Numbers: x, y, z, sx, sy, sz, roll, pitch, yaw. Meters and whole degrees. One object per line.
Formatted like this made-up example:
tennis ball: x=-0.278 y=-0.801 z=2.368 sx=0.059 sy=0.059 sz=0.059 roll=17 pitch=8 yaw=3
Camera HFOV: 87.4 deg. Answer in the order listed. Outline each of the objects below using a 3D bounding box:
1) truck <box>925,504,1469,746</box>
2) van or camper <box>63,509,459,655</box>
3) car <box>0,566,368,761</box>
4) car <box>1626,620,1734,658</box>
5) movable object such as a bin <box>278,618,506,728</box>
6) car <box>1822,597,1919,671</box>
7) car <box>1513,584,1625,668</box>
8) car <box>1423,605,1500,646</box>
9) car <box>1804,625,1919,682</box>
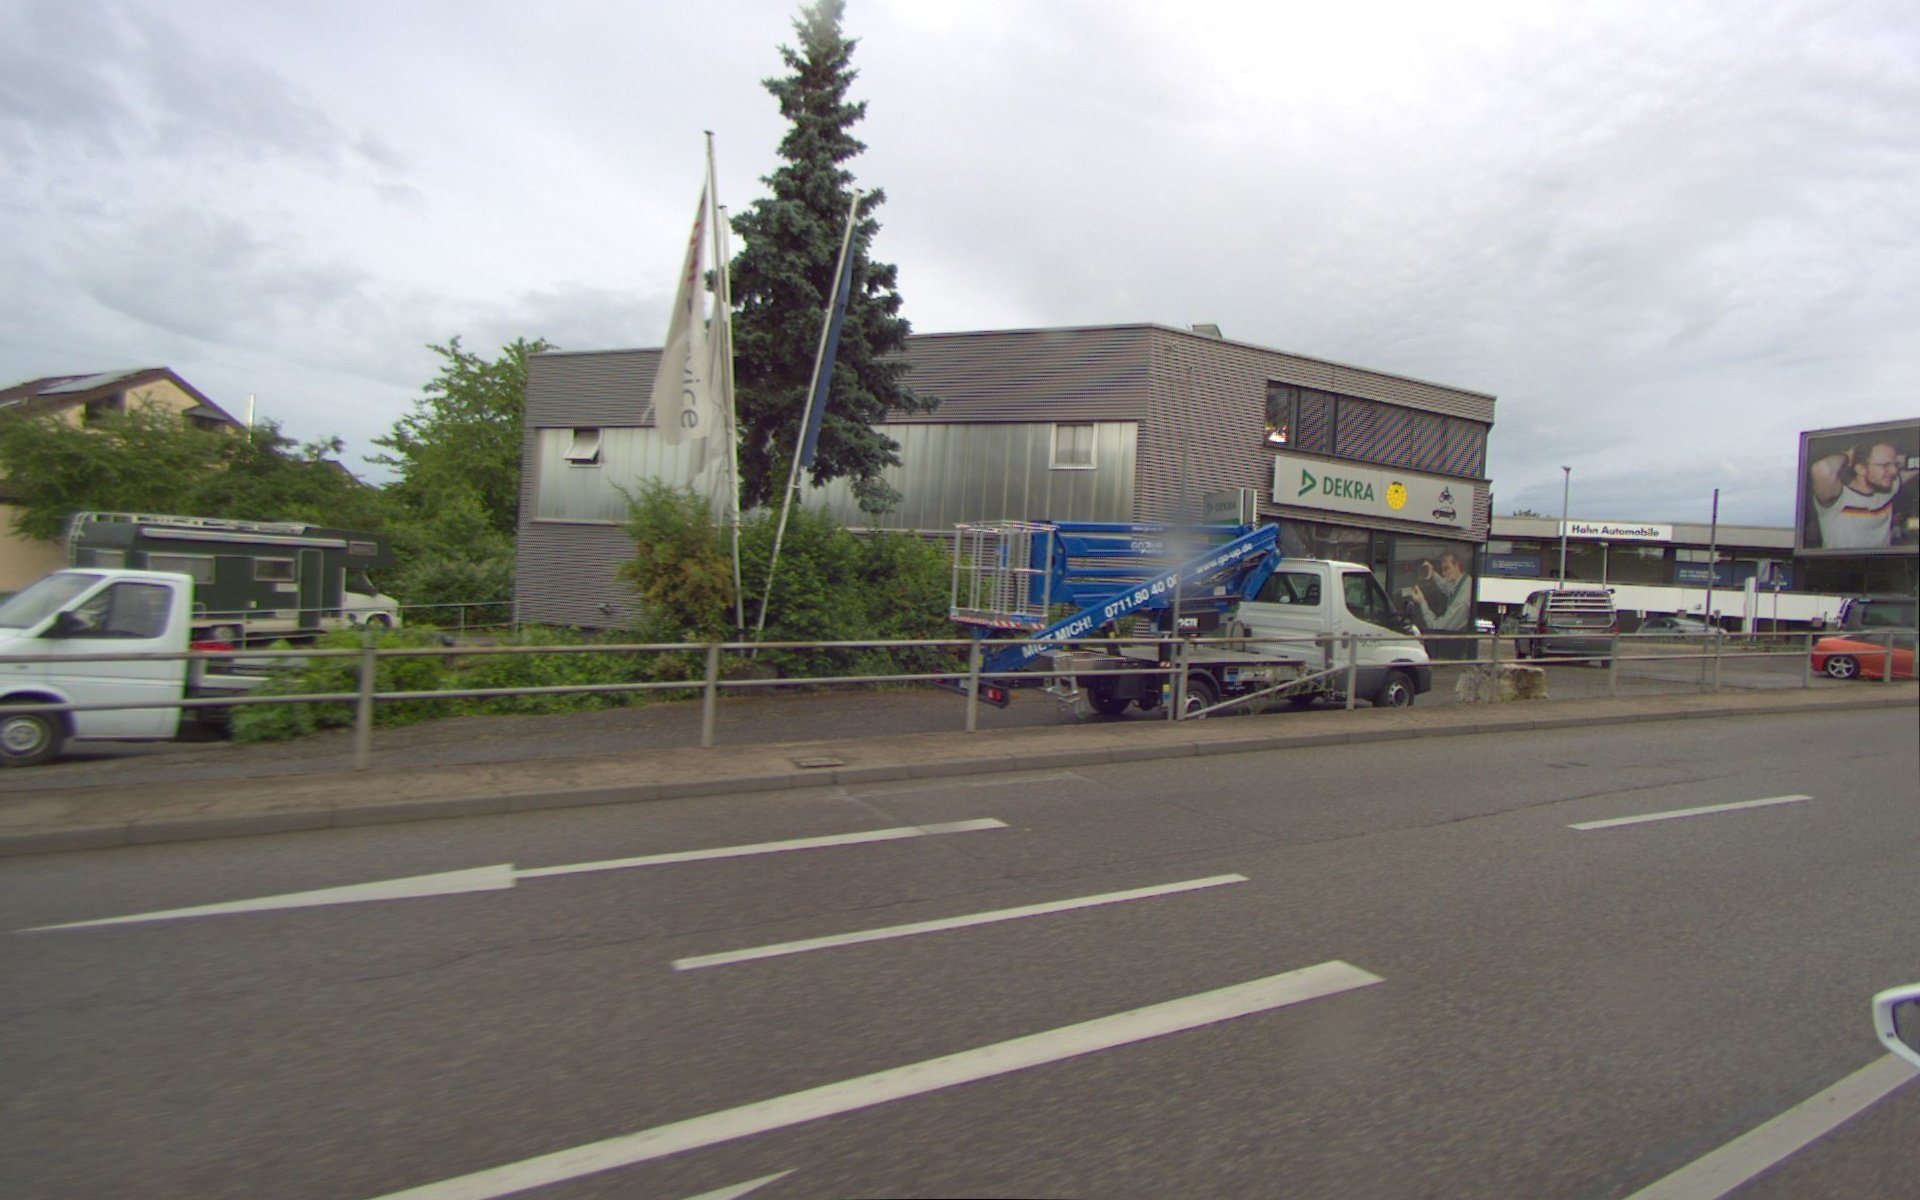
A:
truck: x=3.458 y=0.259 z=13.692 sx=7.788 sy=2.668 sz=1.986 roll=0 pitch=1 yaw=-27
van or camper: x=-17.026 y=-0.480 z=25.371 sx=2.430 sy=2.934 sz=8.113 roll=6 pitch=3 yaw=23
car: x=-9.475 y=0.615 z=11.424 sx=2.028 sy=1.896 sz=4.273 roll=1 pitch=0 yaw=31
car: x=31.451 y=1.663 z=44.038 sx=1.852 sy=1.447 sz=4.106 roll=1 pitch=0 yaw=2
movable object such as a bin: x=-11.883 y=1.507 z=21.346 sx=1.631 sy=2.040 sz=4.000 roll=1 pitch=-3 yaw=22
car: x=25.628 y=0.896 z=25.768 sx=1.802 sy=1.895 sz=5.041 roll=1 pitch=0 yaw=-31
car: x=16.506 y=0.651 z=27.454 sx=1.962 sy=2.014 sz=4.873 roll=2 pitch=1 yaw=24
car: x=23.692 y=1.174 z=47.603 sx=1.784 sy=1.812 sz=3.991 roll=1 pitch=0 yaw=2
car: x=23.172 y=1.297 z=24.181 sx=1.752 sy=1.284 sz=4.064 roll=1 pitch=0 yaw=-35
